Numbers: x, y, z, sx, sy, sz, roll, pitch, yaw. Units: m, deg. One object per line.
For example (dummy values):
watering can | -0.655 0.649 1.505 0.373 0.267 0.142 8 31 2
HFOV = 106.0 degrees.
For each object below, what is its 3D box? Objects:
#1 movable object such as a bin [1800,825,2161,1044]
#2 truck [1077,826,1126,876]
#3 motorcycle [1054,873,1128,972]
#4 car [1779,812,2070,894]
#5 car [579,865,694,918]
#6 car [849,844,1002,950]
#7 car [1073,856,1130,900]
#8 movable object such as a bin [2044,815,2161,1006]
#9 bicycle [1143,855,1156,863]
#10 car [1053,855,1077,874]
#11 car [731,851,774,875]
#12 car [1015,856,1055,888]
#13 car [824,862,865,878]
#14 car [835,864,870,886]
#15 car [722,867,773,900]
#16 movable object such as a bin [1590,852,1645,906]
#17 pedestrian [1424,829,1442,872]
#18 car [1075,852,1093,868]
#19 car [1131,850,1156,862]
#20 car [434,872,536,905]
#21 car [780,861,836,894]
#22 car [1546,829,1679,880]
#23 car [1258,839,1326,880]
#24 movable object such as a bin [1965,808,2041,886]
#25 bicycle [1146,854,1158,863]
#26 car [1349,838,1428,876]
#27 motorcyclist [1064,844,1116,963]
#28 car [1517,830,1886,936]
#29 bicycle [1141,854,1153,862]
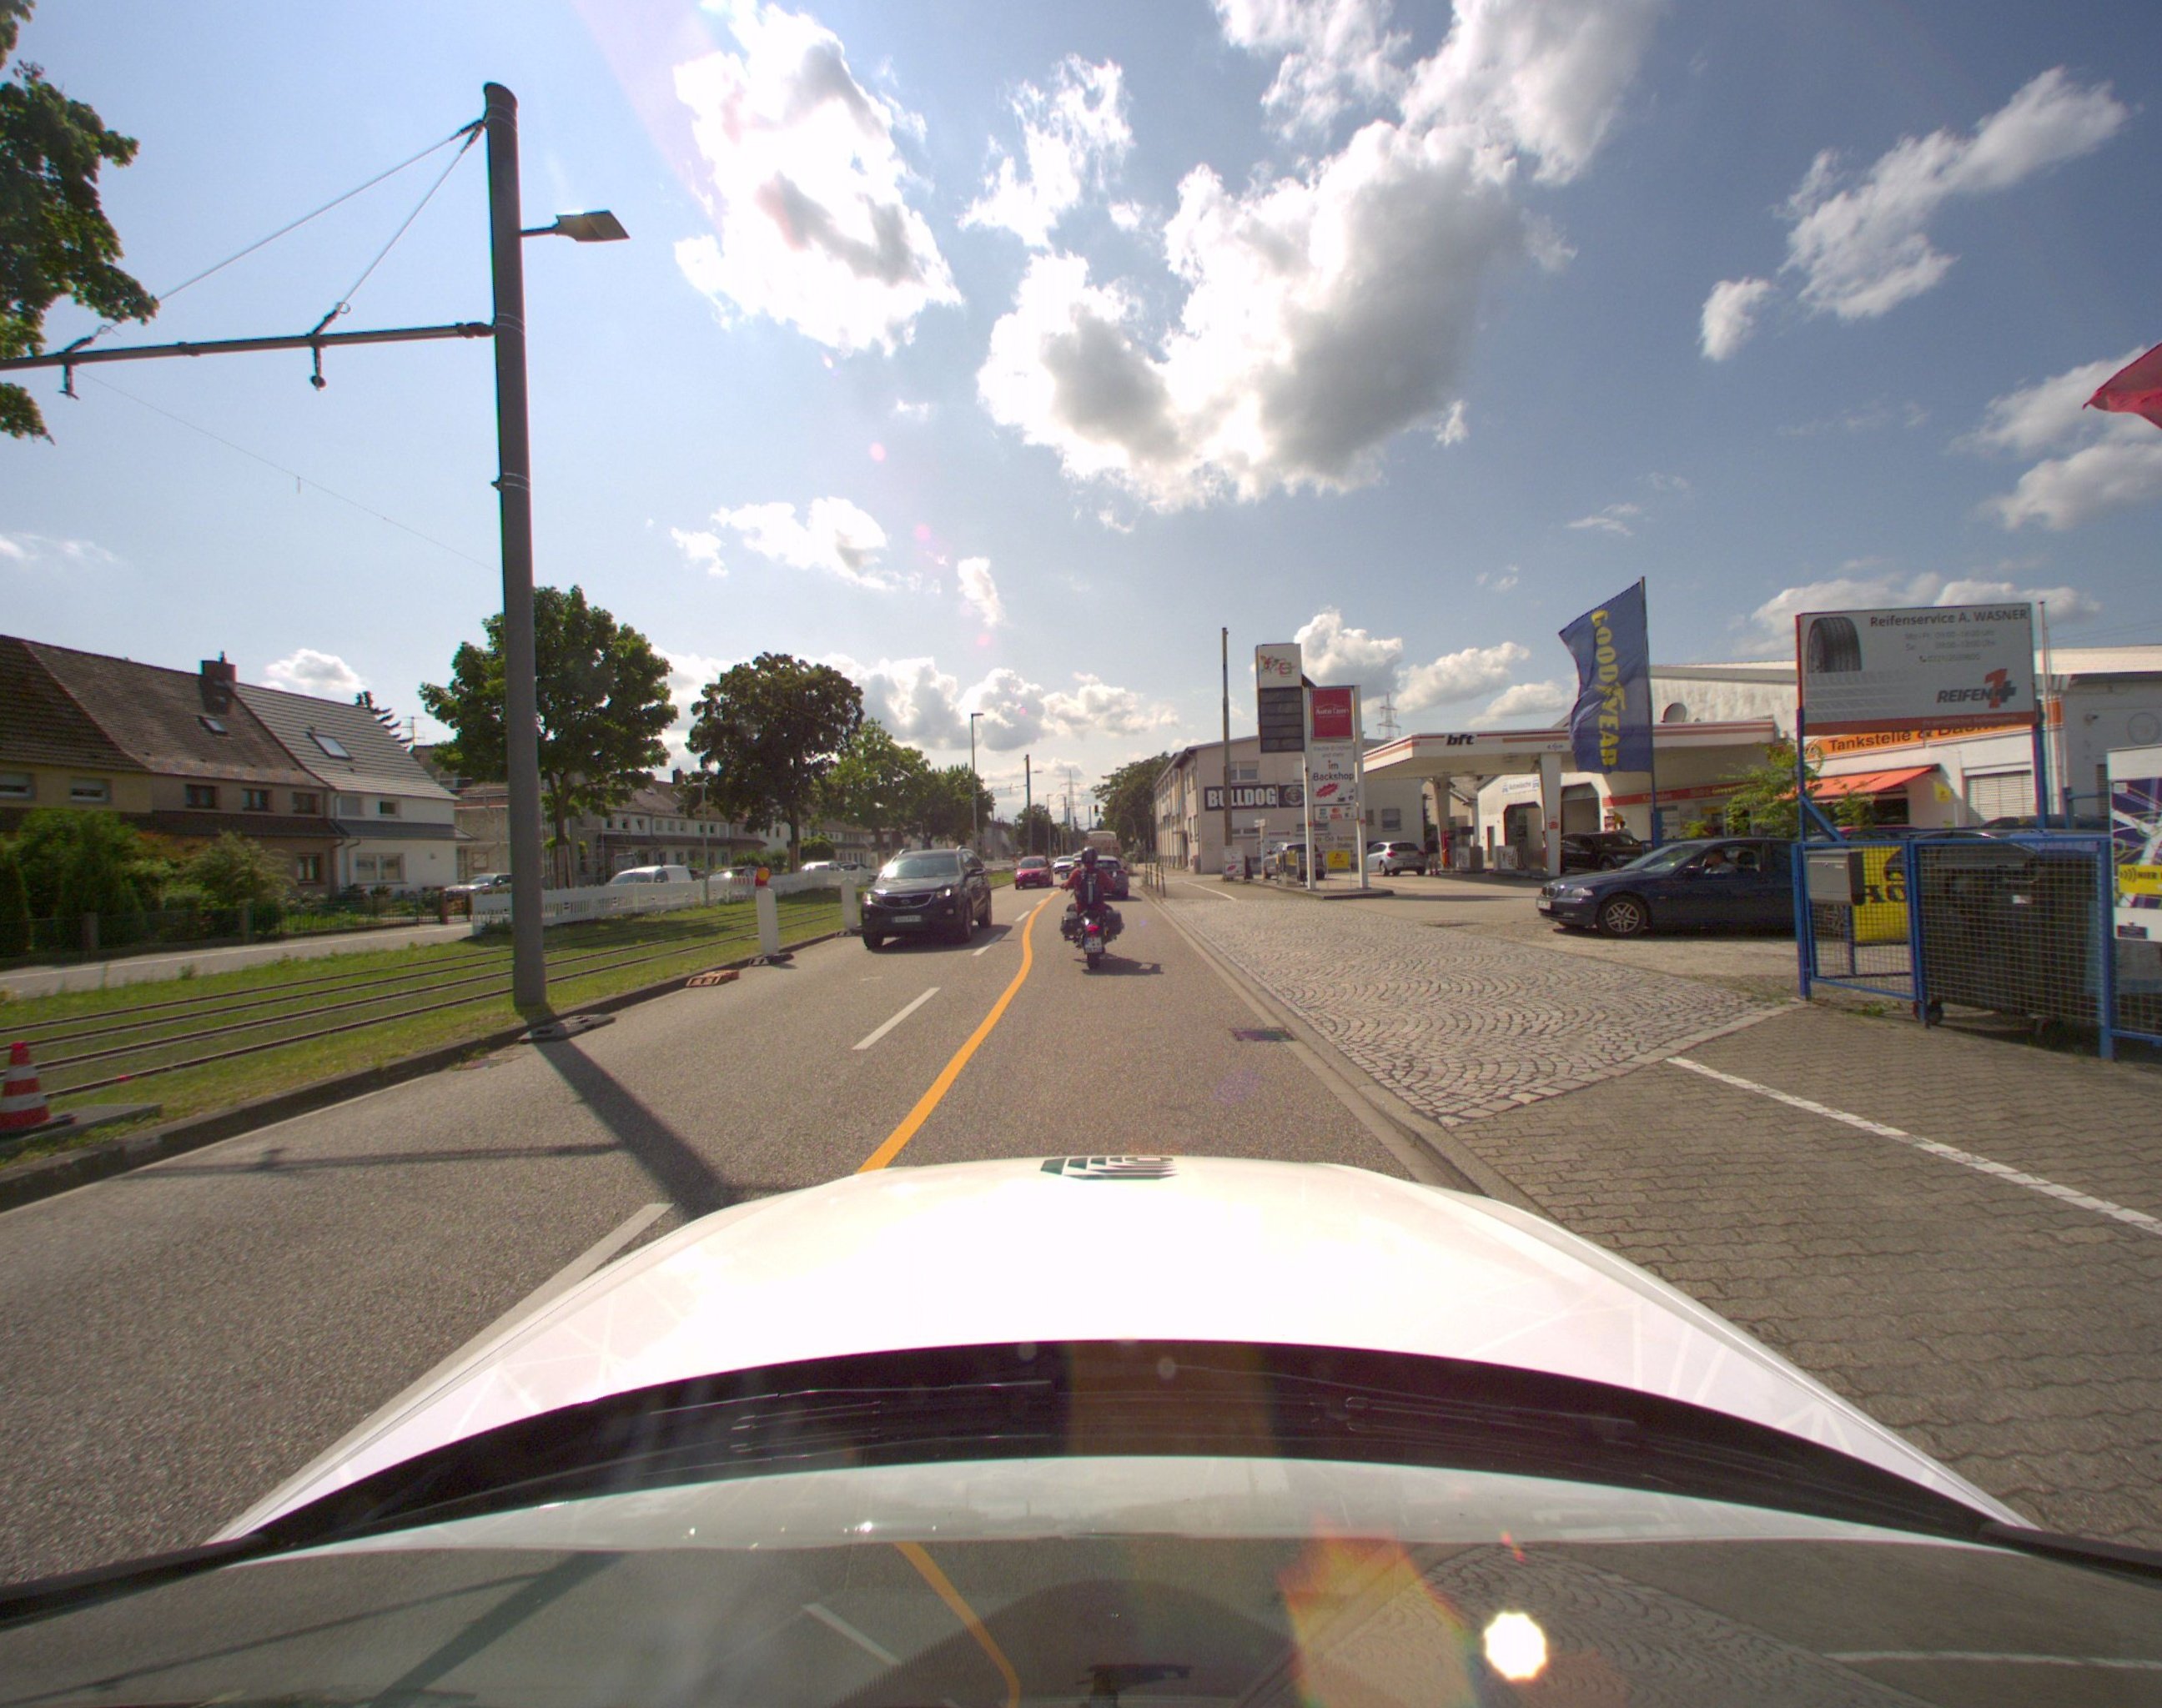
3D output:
movable object such as a bin | 6.932 0.504 5.894 1.956 1.347 1.708 0 -1 0
truck | 1.561 -0.154 56.509 2.954 3.173 7.773 0 -1 4
motorcycle | 0.164 0.902 11.636 0.939 1.200 2.473 0 0 2
car | 17.526 -0.014 17.080 4.118 1.424 1.772 -3 -1 2
car | -15.469 1.253 28.593 1.647 1.626 4.002 -3 -1 2
car | -2.811 0.712 15.733 1.788 1.690 4.226 -3 0 4
car | 0.648 0.790 28.333 1.727 1.403 4.082 0 0 -3
movable object such as a bin | 8.759 0.411 5.878 1.526 1.410 1.765 0 -1 1
bicycle | 9.650 0.713 114.858 1.698 1.172 0.439 0 -1 6
car | -1.342 0.916 70.495 1.815 1.445 4.484 -3 -1 1
car | -27.937 0.750 69.383 1.986 2.014 4.001 0 -1 1
car | -2.191 0.840 39.593 1.572 1.469 3.721 -1 -1 2
car | -26.219 1.767 90.403 3.973 1.509 1.726 -3 0 0
car | -15.174 1.393 54.202 1.345 1.377 3.115 -3 -1 2
car | -14.980 1.302 36.673 1.067 1.348 2.452 -3 -1 5
movable object such as a bin | 10.325 0.472 15.694 0.578 1.010 0.706 0 -1 0
pedestrian | 14.672 -0.162 33.970 0.495 1.776 0.577 0 -1 -1
car | 0.400 0.685 92.284 1.818 1.666 4.463 -3 -1 1
car | 10.387 0.400 135.177 4.022 1.926 1.781 0 -1 -43
car | -27.271 1.551 37.442 1.528 1.275 4.122 -3 -1 2
car | -15.119 1.281 45.341 1.616 1.651 3.900 -3 -1 2
car | 17.956 -0.042 27.801 1.676 1.519 4.495 -3 1 2
car | 8.978 0.234 35.050 1.937 1.625 4.619 -1 0 3
movable object such as a bin | 17.149 -0.126 15.162 0.579 1.391 0.706 -2 0 0
bicycle | 10.127 0.637 115.702 1.698 1.172 0.439 0 -1 6
car | 13.415 0.170 35.781 1.687 1.471 4.421 -3 -1 -1
motorcyclist | 0.137 0.676 11.349 0.695 1.604 0.692 0 -1 1
car | 8.896 0.418 12.006 4.029 1.408 1.651 -1 0 8
bicycle | 9.488 0.582 116.406 1.698 1.172 0.439 0 -1 6
